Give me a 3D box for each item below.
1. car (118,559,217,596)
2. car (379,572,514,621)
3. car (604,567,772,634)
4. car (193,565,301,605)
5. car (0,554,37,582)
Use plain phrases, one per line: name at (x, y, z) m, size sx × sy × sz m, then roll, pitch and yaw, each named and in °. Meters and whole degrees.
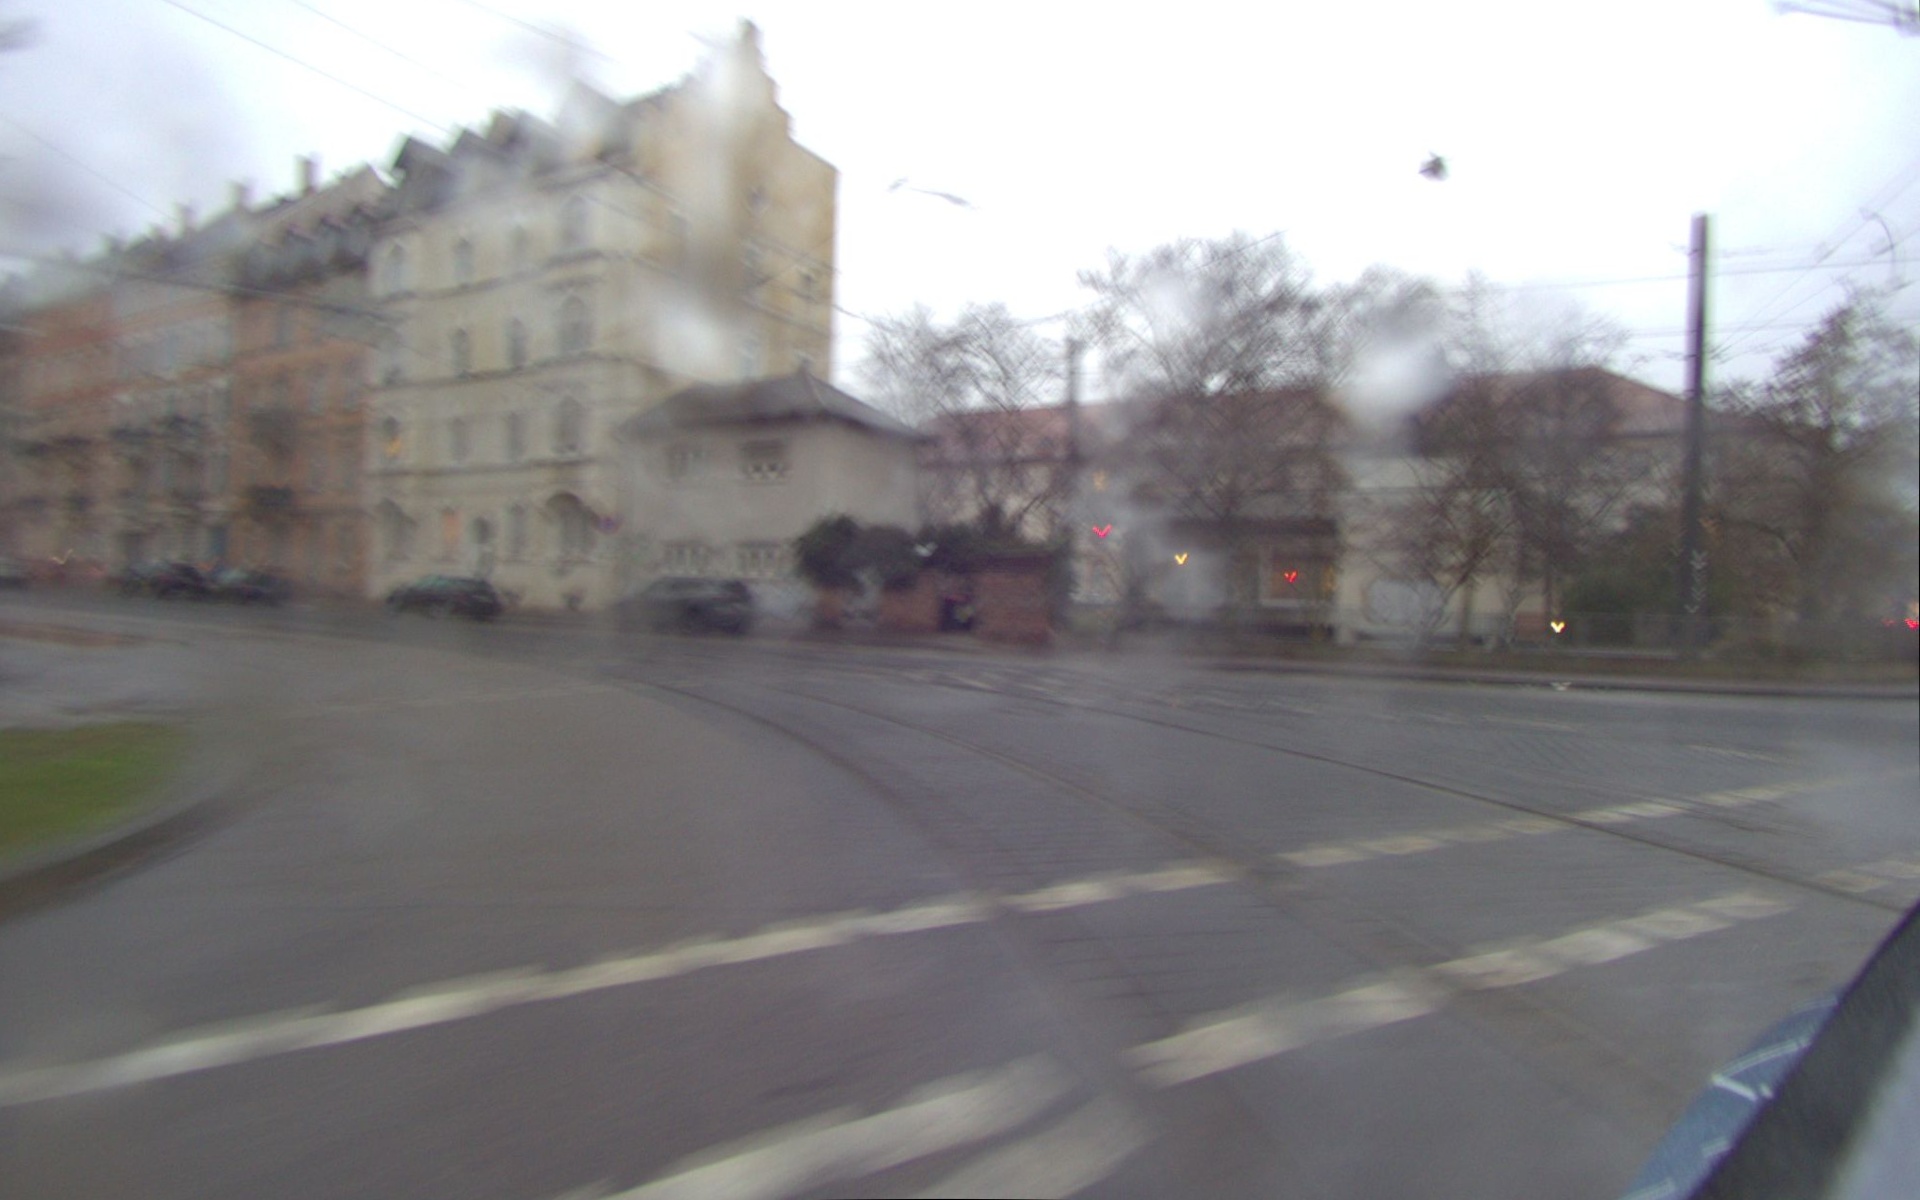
car at (-35.008, -0.986, 44.688) m, size 4.477 × 1.458 × 1.978 m, roll 2°, pitch 1°, yaw 31°
car at (-17.200, -0.141, 33.860) m, size 4.477 × 1.458 × 1.978 m, roll 2°, pitch 1°, yaw 31°
car at (-7.770, -0.020, 28.890) m, size 4.470 × 1.690 × 1.981 m, roll 2°, pitch 1°, yaw 28°
car at (-29.092, -0.608, 41.264) m, size 4.477 × 1.458 × 1.978 m, roll 2°, pitch 1°, yaw 31°
car at (-52.388, -1.798, 55.102) m, size 4.477 × 1.458 × 1.978 m, roll 2°, pitch 1°, yaw 31°
